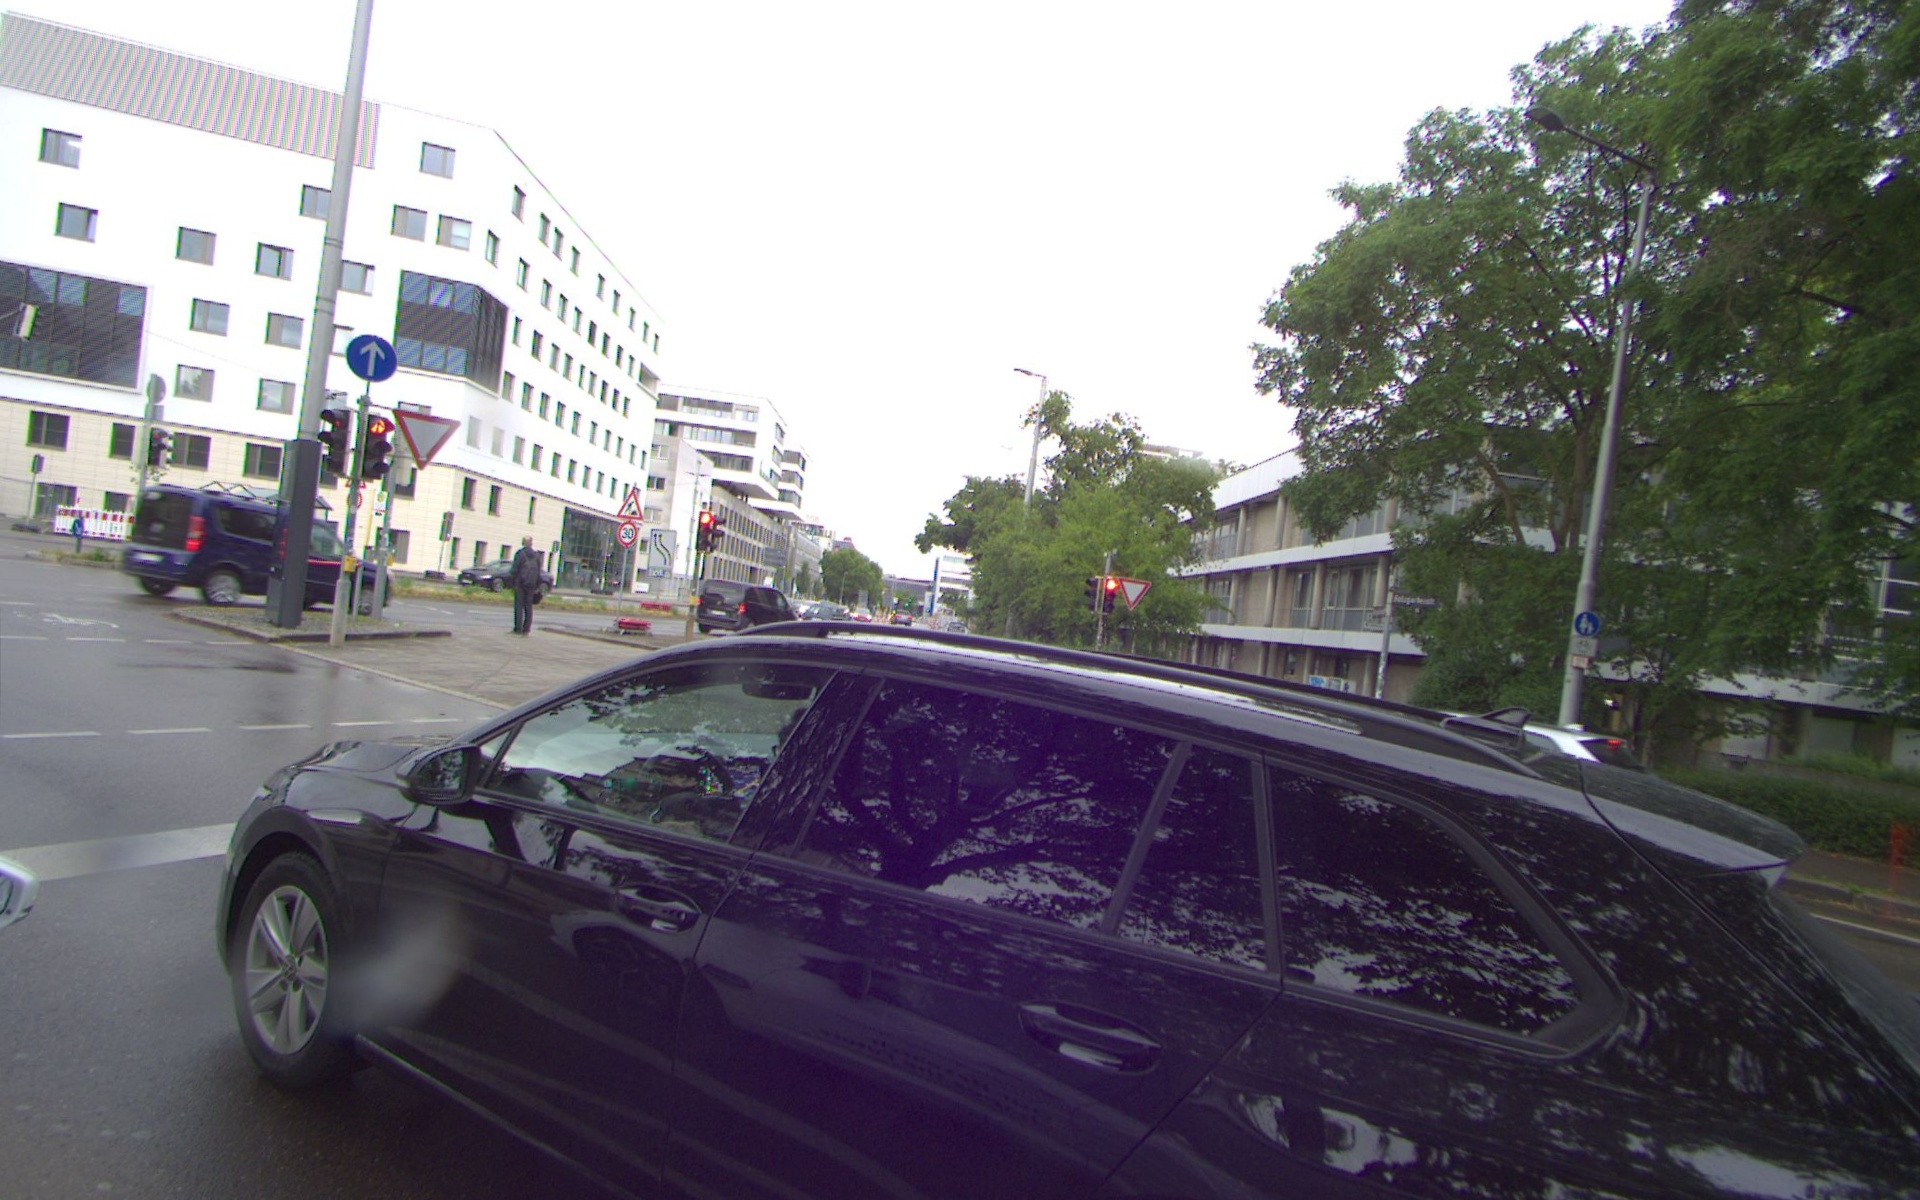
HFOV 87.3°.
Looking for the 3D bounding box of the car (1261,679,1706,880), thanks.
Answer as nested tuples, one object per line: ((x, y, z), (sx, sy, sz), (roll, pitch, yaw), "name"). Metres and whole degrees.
((6.160, 2.043, 12.341), (1.853, 1.467, 4.359), (9, -1, -37), "car")

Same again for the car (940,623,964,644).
((-0.766, 3.114, 92.123), (1.834, 1.669, 4.779), (7, -3, -3), "car")

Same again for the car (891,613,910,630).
((-6.760, 2.456, 114.475), (1.834, 1.669, 4.780), (7, -3, -2), "car")

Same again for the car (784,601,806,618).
((-16.357, 0.969, 99.958), (1.966, 1.394, 4.382), (8, -1, -8), "car")

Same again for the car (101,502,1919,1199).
((-0.286, 0.768, 2.760), (4.436, 1.483, 1.673), (8, -1, 30), "car")

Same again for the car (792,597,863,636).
((-6.725, 0.906, 51.764), (1.962, 1.693, 4.974), (7, -1, 11), "car")

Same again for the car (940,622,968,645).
((-0.417, 2.554, 76.842), (1.833, 1.437, 4.005), (7, -3, 2), "car")

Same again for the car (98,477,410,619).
((-12.666, -0.829, 18.434), (1.764, 1.930, 4.311), (8, -1, 19), "car")

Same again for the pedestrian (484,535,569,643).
((-8.347, -0.210, 19.405), (1.009, 1.913, 0.830), (6, -2, 23), "pedestrian")

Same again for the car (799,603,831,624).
((-11.868, 1.124, 82.703), (1.964, 1.394, 4.388), (8, -1, -1), "car")

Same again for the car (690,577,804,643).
((-7.341, 0.421, 35.228), (1.962, 1.830, 4.792), (7, -1, 12), "car")

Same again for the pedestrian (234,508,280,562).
((-26.720, -2.457, 38.235), (0.808, 1.861, 0.955), (6, -2, 20), "pedestrian")

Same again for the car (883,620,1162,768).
((0.741, 1.264, 14.481), (1.851, 1.467, 3.964), (9, -1, -34), "car")
